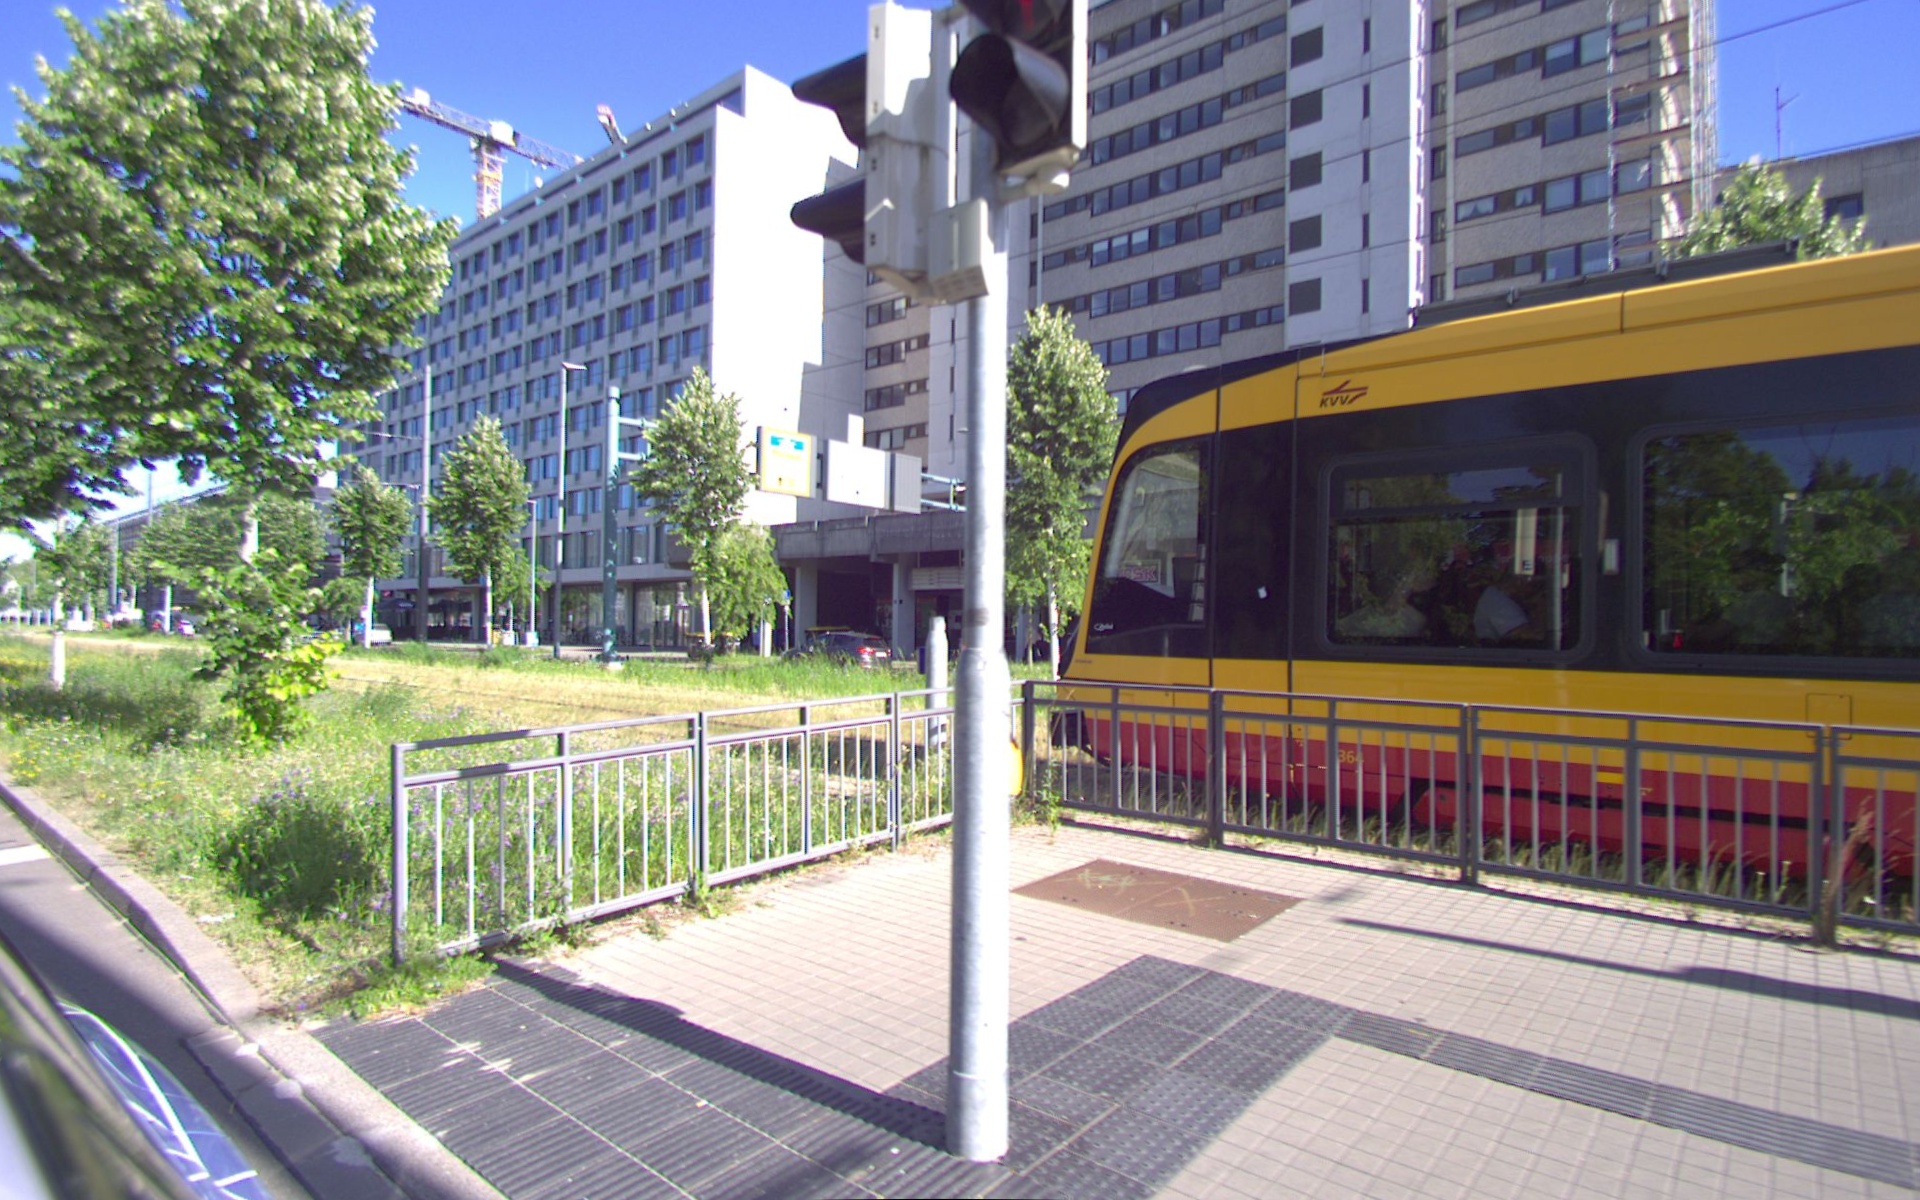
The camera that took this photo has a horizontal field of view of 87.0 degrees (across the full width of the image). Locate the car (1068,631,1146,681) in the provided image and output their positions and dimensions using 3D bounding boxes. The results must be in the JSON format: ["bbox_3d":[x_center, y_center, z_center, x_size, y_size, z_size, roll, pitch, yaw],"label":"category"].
[{"bbox_3d":[4.933,1.850,34.552,1.691,1.531,4.005,0,-1,-6],"label":"car"}]

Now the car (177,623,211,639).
[{"bbox_3d":[-73.771,2.978,97.440,3.811,1.519,1.804,-1,-1,41],"label":"car"}]

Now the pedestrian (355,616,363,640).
[{"bbox_3d":[-48.096,2.247,80.957,0.501,1.854,0.516,1,-1,-38],"label":"pedestrian"}]

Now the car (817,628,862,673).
[{"bbox_3d":[-4.947,2.047,41.770,1.768,1.697,4.005,0,-1,-6],"label":"car"}]

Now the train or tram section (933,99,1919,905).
[{"bbox_3d":[5.822,-0.453,4.733,14.139,3.697,1.973,-1,-1,40],"label":"train or tram section"}]

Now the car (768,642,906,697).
[{"bbox_3d":[-4.102,2.226,33.318,4.502,1.590,1.974,-1,-1,39],"label":"car"}]

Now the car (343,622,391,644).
[{"bbox_3d":[-42.993,2.372,73.362,3.770,1.561,1.841,-1,-1,41],"label":"car"}]

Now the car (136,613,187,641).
[{"bbox_3d":[-54.837,1.818,69.475,4.284,1.833,1.972,-1,-1,42],"label":"car"}]
